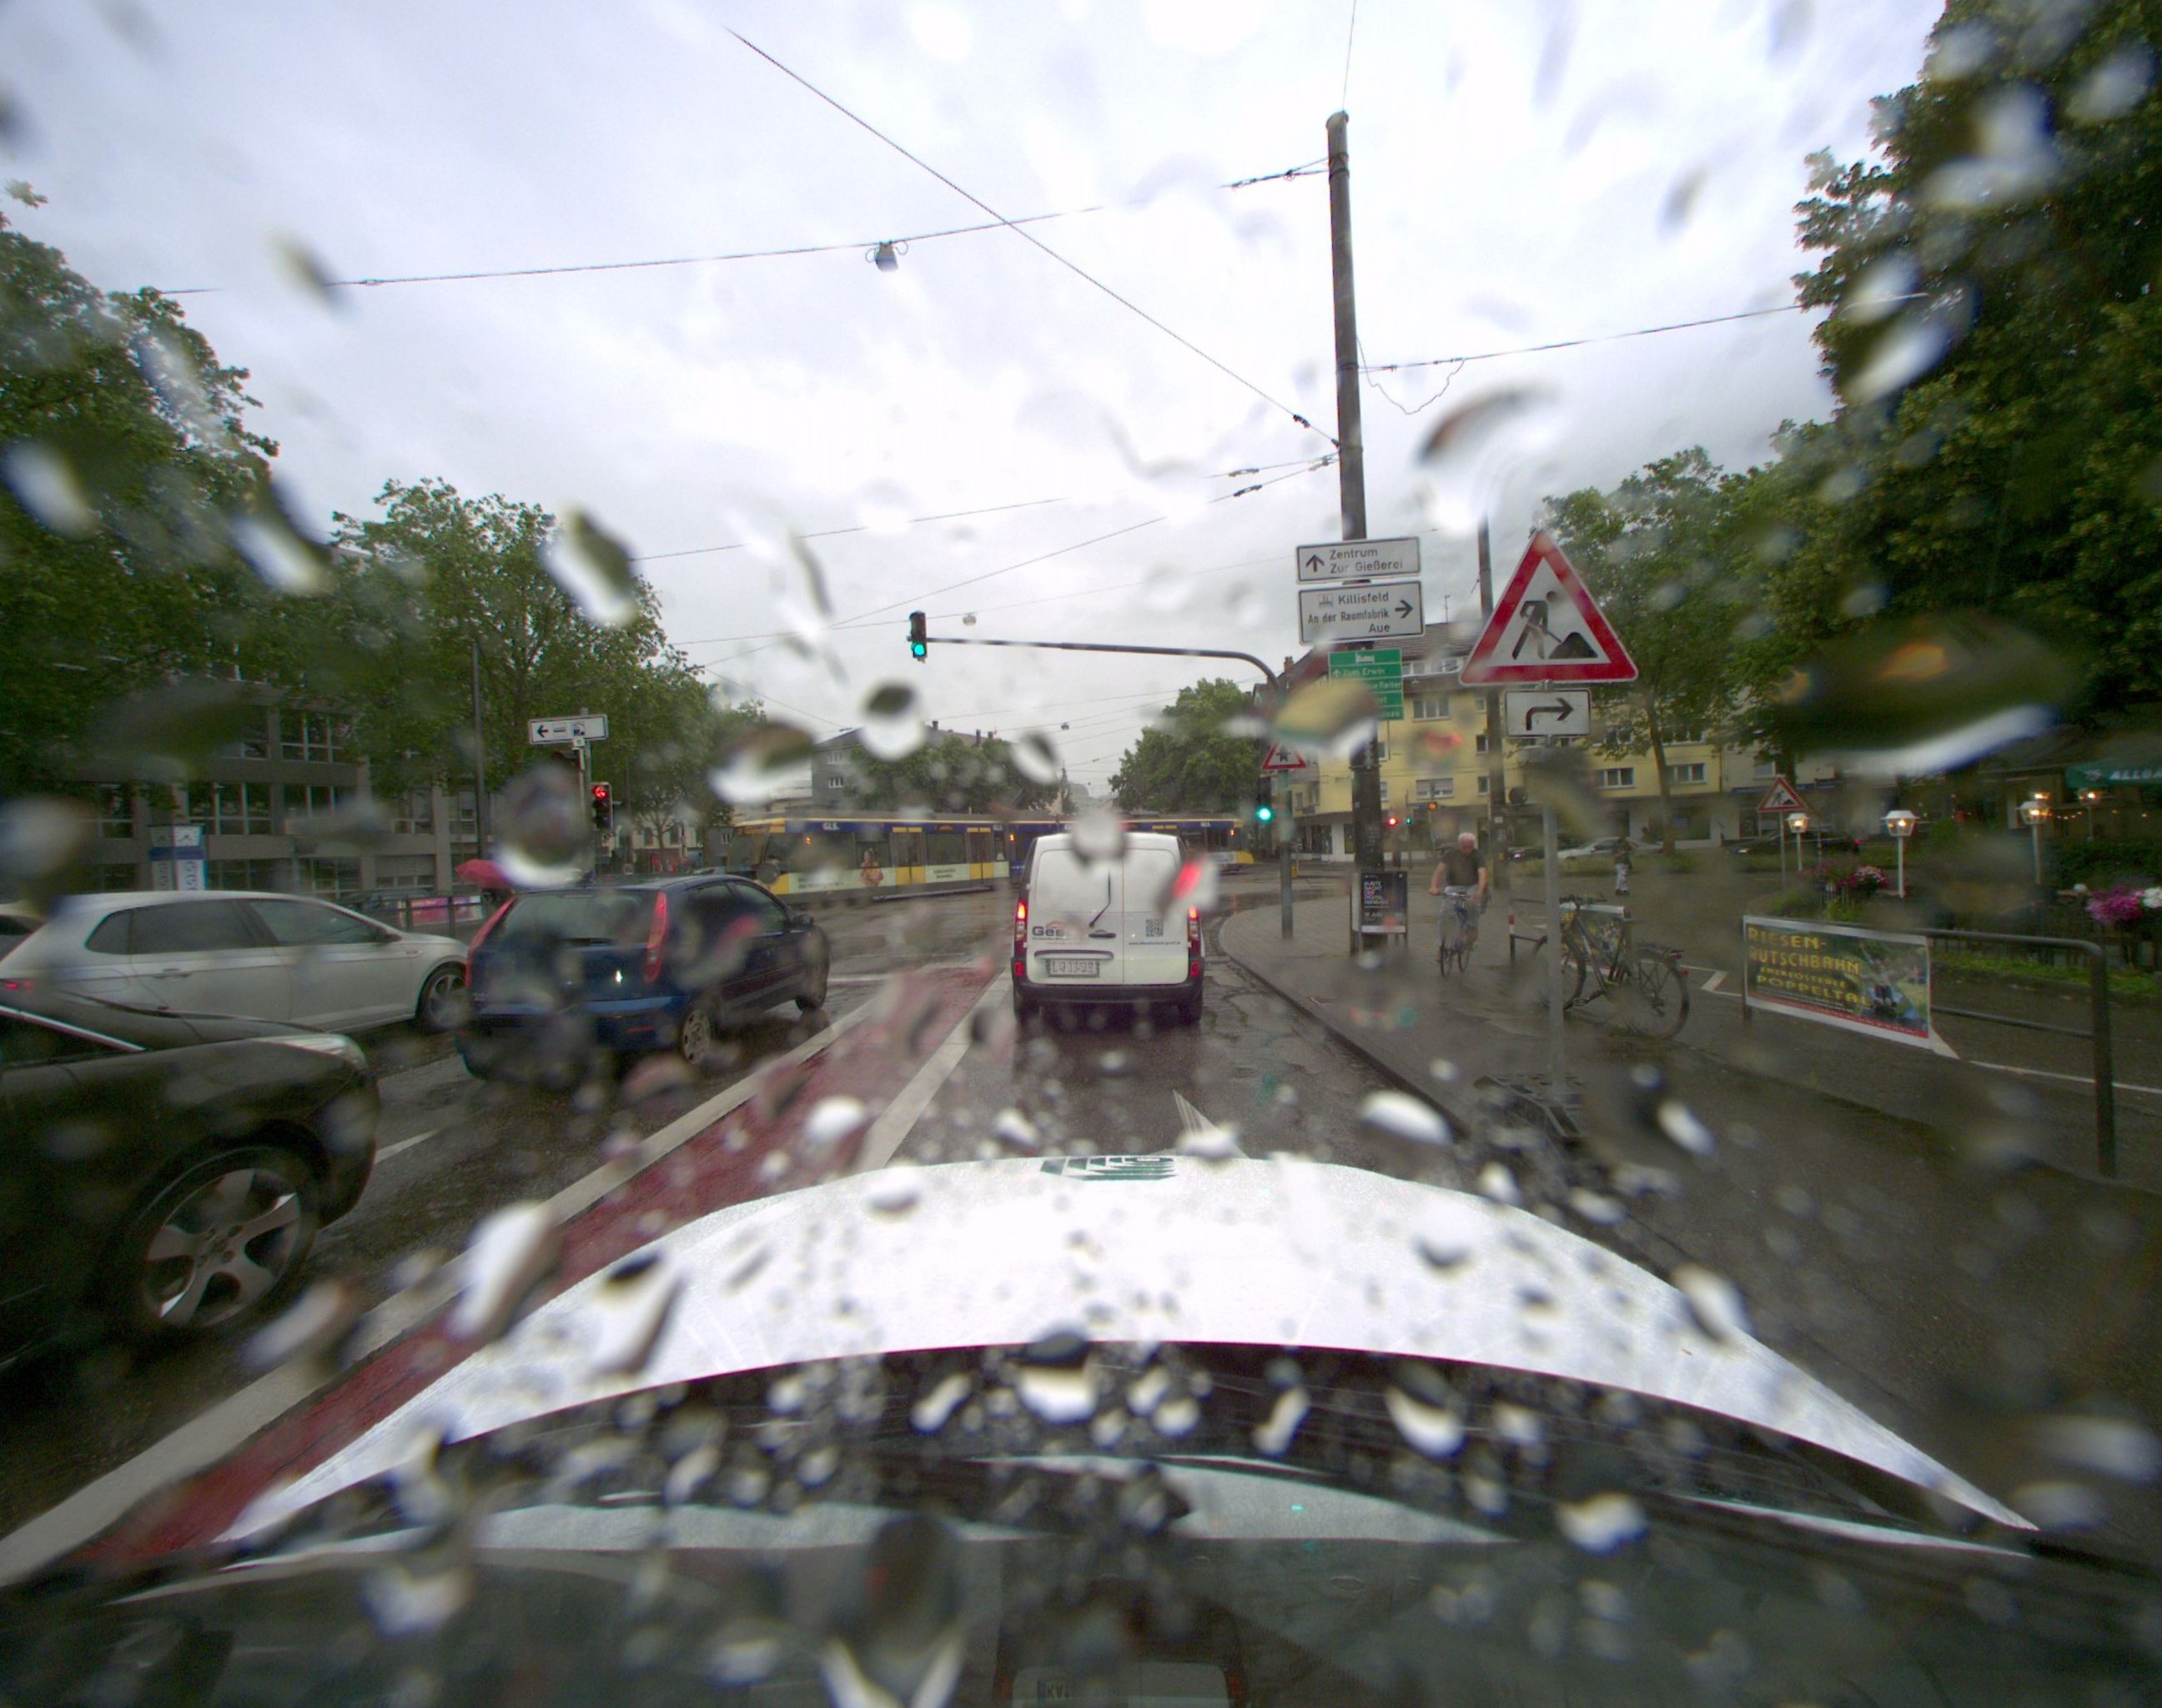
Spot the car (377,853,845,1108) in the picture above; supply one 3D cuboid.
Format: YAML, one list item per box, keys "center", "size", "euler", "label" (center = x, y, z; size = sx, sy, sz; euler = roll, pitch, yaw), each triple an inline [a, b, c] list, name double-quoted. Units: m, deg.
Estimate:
- center: [-3.519, 0.801, 7.040]
  size: [1.720, 1.578, 3.822]
  euler: [-1, 0, 2]
  label: "car"

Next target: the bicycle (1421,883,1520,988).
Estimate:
- center: [4.619, 0.925, 9.781]
  size: [0.456, 1.027, 1.905]
  euler: [-2, 1, 7]
  label: "bicycle"

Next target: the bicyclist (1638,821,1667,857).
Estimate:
- center: [26.495, -0.692, 37.760]
  size: [0.810, 1.615, 0.711]
  euler: [-1, 0, 2]
  label: "bicyclist"

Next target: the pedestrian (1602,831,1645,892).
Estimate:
- center: [15.311, 0.205, 23.015]
  size: [0.896, 1.669, 1.026]
  euler: [-1, 0, 28]
  label: "pedestrian"

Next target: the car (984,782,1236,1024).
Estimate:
- center: [0.326, 0.436, 9.420]
  size: [2.092, 2.012, 4.965]
  euler: [-2, -1, 2]
  label: "car"

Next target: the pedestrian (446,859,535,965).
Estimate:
- center: [-10.390, 0.999, 14.373]
  size: [0.763, 1.746, 0.899]
  euler: [-4, 1, 1]
  label: "pedestrian"

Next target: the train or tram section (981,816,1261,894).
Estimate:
- center: [2.578, 0.051, 41.789]
  size: [15.570, 3.413, 3.513]
  euler: [0, 0, -36]
  label: "train or tram section"

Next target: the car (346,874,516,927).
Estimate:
- center: [-18.600, 1.298, 23.490]
  size: [1.582, 1.314, 3.538]
  euler: [-1, 0, 16]
  label: "car"

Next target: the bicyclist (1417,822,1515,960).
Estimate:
- center: [4.620, 0.429, 9.835]
  size: [0.872, 1.583, 0.863]
  euler: [-1, 0, 12]
  label: "bicyclist"

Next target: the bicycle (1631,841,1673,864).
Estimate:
- center: [26.460, -0.061, 37.747]
  size: [1.631, 1.002, 0.422]
  euler: [-1, 0, 2]
  label: "bicycle"

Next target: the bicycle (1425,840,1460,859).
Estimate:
- center: [24.326, -0.304, 54.865]
  size: [2.085, 1.261, 0.534]
  euler: [-1, 1, 16]
  label: "bicycle"

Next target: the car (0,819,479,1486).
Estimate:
- center: [-3.648, 0.761, 1.525]
  size: [1.827, 1.668, 4.174]
  euler: [-1, 0, 2]
  label: "car"

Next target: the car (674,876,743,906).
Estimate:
- center: [-19.428, 1.900, 42.695]
  size: [1.638, 1.387, 4.002]
  euler: [-1, 0, 2]
  label: "car"

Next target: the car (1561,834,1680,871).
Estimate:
- center: [23.184, -0.067, 35.154]
  size: [3.906, 1.490, 1.815]
  euler: [-1, 1, 17]
  label: "car"

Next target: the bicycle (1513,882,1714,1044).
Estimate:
- center: [4.485, 0.841, 7.053]
  size: [0.512, 1.107, 2.018]
  euler: [1, 0, 3]
  label: "bicycle"

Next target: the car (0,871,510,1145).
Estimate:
- center: [-6.799, 0.931, 6.557]
  size: [1.623, 1.494, 3.783]
  euler: [-1, 0, 2]
  label: "car"

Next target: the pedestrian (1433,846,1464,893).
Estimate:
- center: [12.347, 0.503, 27.358]
  size: [0.820, 1.534, 0.616]
  euler: [-1, -1, -37]
  label: "pedestrian"

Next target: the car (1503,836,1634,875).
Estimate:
- center: [22.854, 0.103, 38.379]
  size: [4.902, 1.643, 2.007]
  euler: [-1, -3, 14]
  label: "car"

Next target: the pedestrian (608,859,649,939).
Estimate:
- center: [-9.330, 0.906, 16.796]
  size: [0.627, 1.607, 0.737]
  euler: [-1, 0, -22]
  label: "pedestrian"

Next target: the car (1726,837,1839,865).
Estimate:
- center: [29.281, -0.130, 34.039]
  size: [3.511, 1.082, 1.248]
  euler: [-1, 0, 4]
  label: "car"

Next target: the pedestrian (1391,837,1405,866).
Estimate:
- center: [16.815, -0.119, 43.170]
  size: [0.616, 1.500, 0.555]
  euler: [-1, 0, 17]
  label: "pedestrian"

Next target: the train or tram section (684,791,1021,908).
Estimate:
- center: [-7.687, -0.132, 31.112]
  size: [3.479, 3.512, 13.745]
  euler: [0, 0, 31]
  label: "train or tram section"
